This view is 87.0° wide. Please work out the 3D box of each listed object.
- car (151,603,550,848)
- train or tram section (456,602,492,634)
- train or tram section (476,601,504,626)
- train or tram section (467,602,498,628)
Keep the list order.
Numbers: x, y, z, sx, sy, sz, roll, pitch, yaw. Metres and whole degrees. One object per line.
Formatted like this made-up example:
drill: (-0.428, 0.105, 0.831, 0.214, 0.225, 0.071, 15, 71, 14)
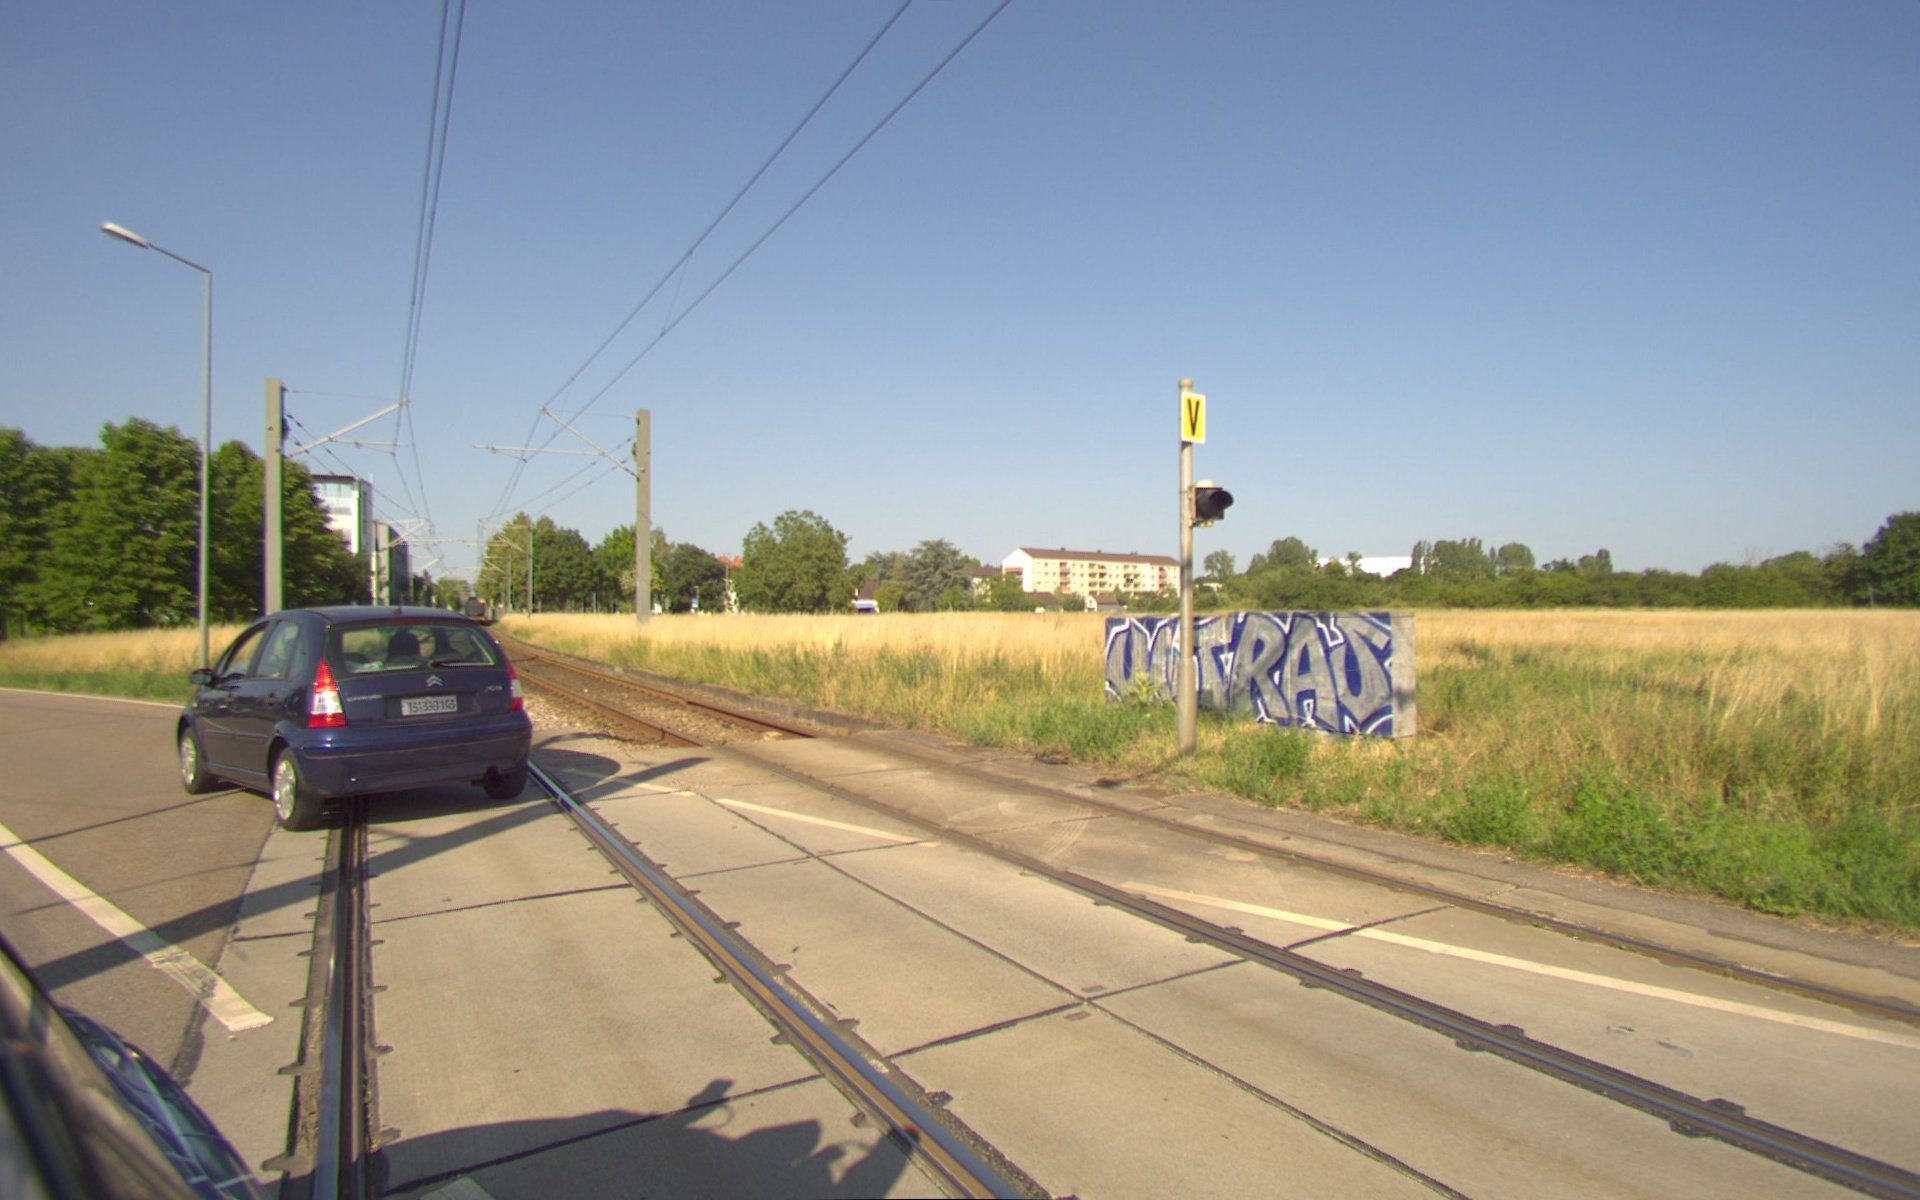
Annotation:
car: (-5.045, 0.802, 8.149, 3.998, 1.505, 1.607, -1, -1, 41)
train or tram section: (-62.388, 2.198, 130.210, 2.866, 3.595, 14.309, -2, 2, -21)
train or tram section: (-71.455, 1.964, 153.932, 2.909, 3.511, 12.205, -2, 0, -21)
train or tram section: (-67.161, 2.032, 142.531, 2.876, 3.480, 12.205, -2, 1, -21)
